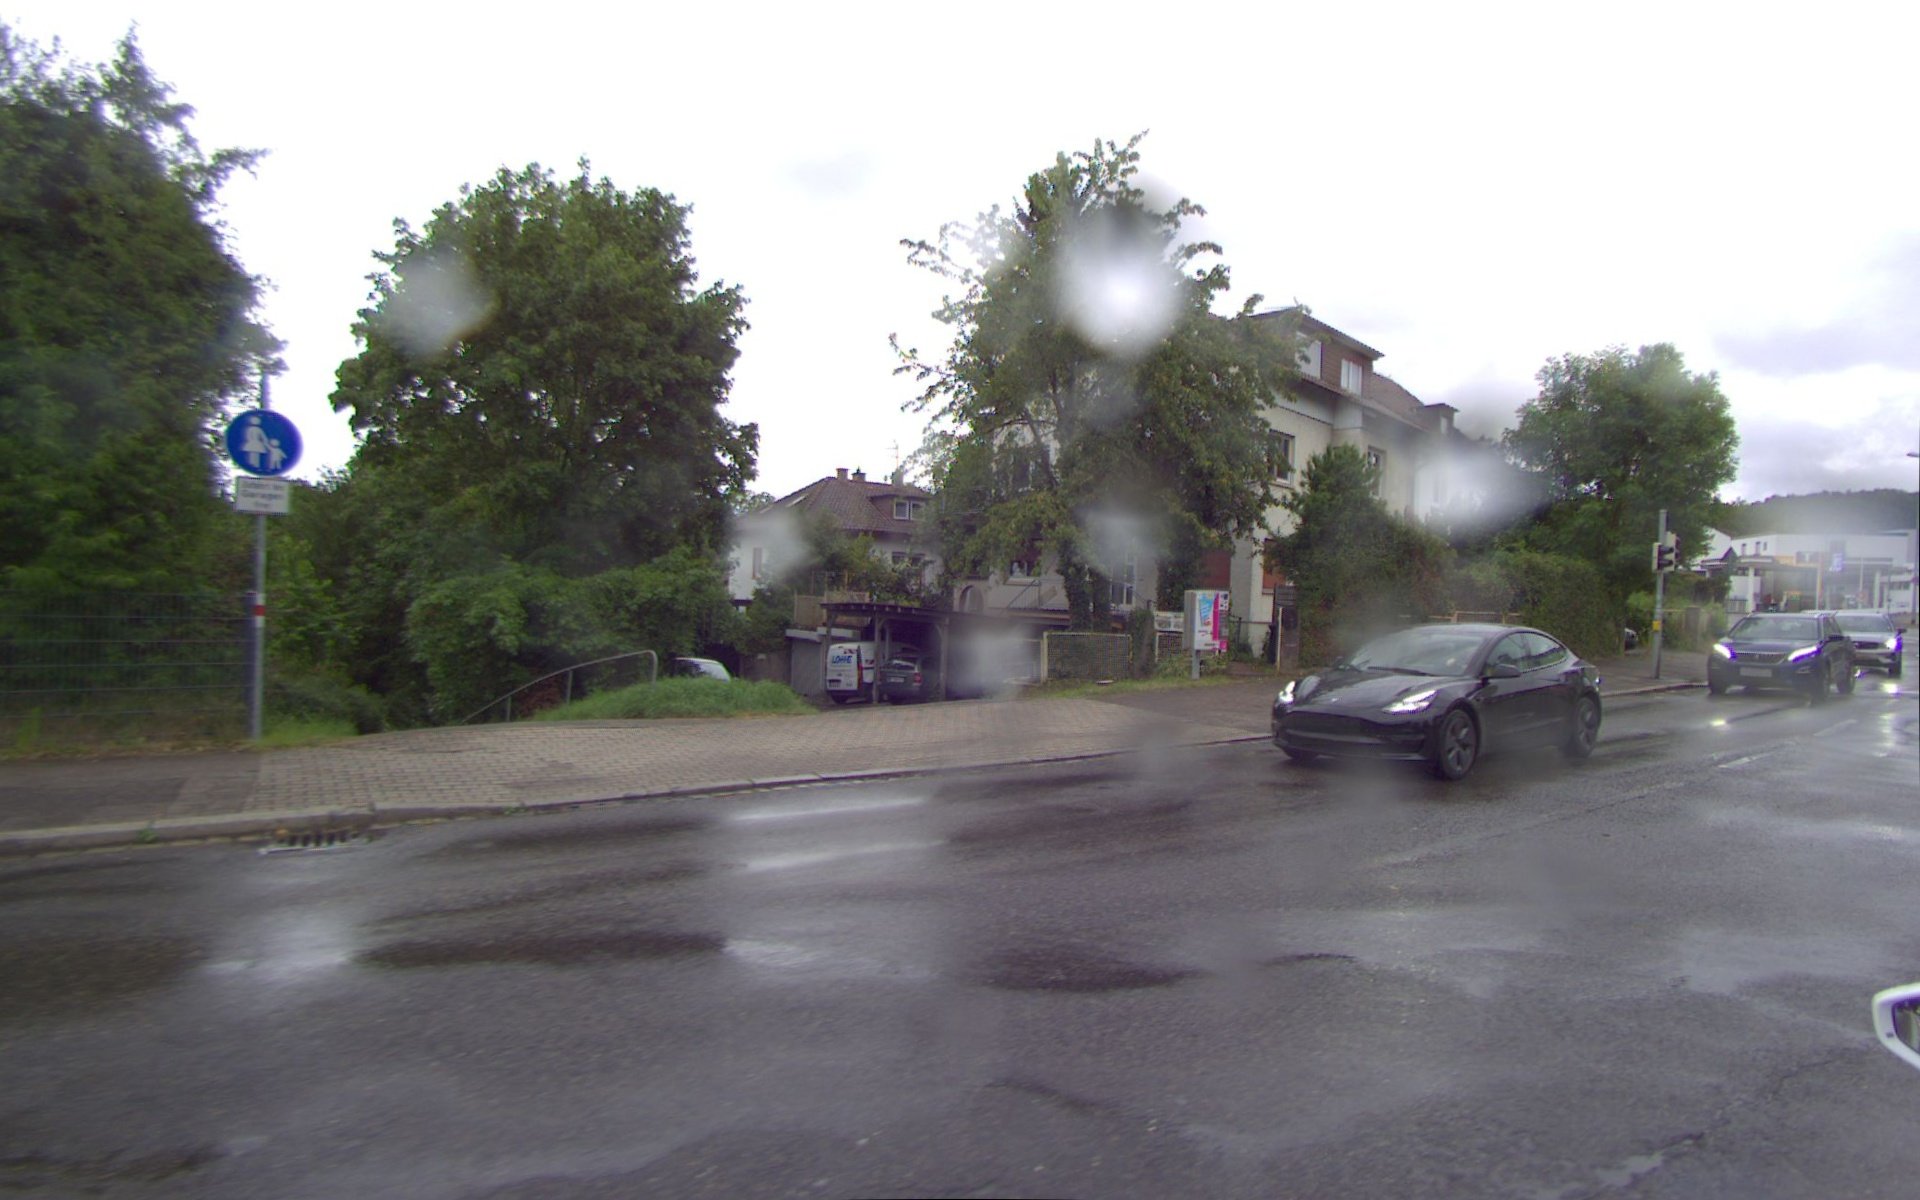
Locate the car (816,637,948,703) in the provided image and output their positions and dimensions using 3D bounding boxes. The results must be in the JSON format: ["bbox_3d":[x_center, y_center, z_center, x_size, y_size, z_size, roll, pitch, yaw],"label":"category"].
[{"bbox_3d":[-2.320,2.112,30.618,1.773,1.884,3.983,-4,-4,39],"label":"car"}]

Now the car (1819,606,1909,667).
[{"bbox_3d":[25.399,1.004,28.181,3.747,1.602,1.605,2,-2,-44],"label":"car"}]

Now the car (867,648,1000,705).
[{"bbox_3d":[-0.687,2.155,28.805,1.771,1.503,3.987,-3,-4,35],"label":"car"}]

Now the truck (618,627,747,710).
[{"bbox_3d":[-8.253,2.051,29.676,1.985,2.054,3.953,-3,-4,-43],"label":"truck"}]

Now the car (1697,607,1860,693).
[{"bbox_3d":[16.738,0.983,20.485,3.966,1.585,1.835,2,-2,-39],"label":"car"}]

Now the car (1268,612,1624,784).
[{"bbox_3d":[5.316,0.917,10.799,4.115,1.509,1.780,1,-2,-37],"label":"car"}]
